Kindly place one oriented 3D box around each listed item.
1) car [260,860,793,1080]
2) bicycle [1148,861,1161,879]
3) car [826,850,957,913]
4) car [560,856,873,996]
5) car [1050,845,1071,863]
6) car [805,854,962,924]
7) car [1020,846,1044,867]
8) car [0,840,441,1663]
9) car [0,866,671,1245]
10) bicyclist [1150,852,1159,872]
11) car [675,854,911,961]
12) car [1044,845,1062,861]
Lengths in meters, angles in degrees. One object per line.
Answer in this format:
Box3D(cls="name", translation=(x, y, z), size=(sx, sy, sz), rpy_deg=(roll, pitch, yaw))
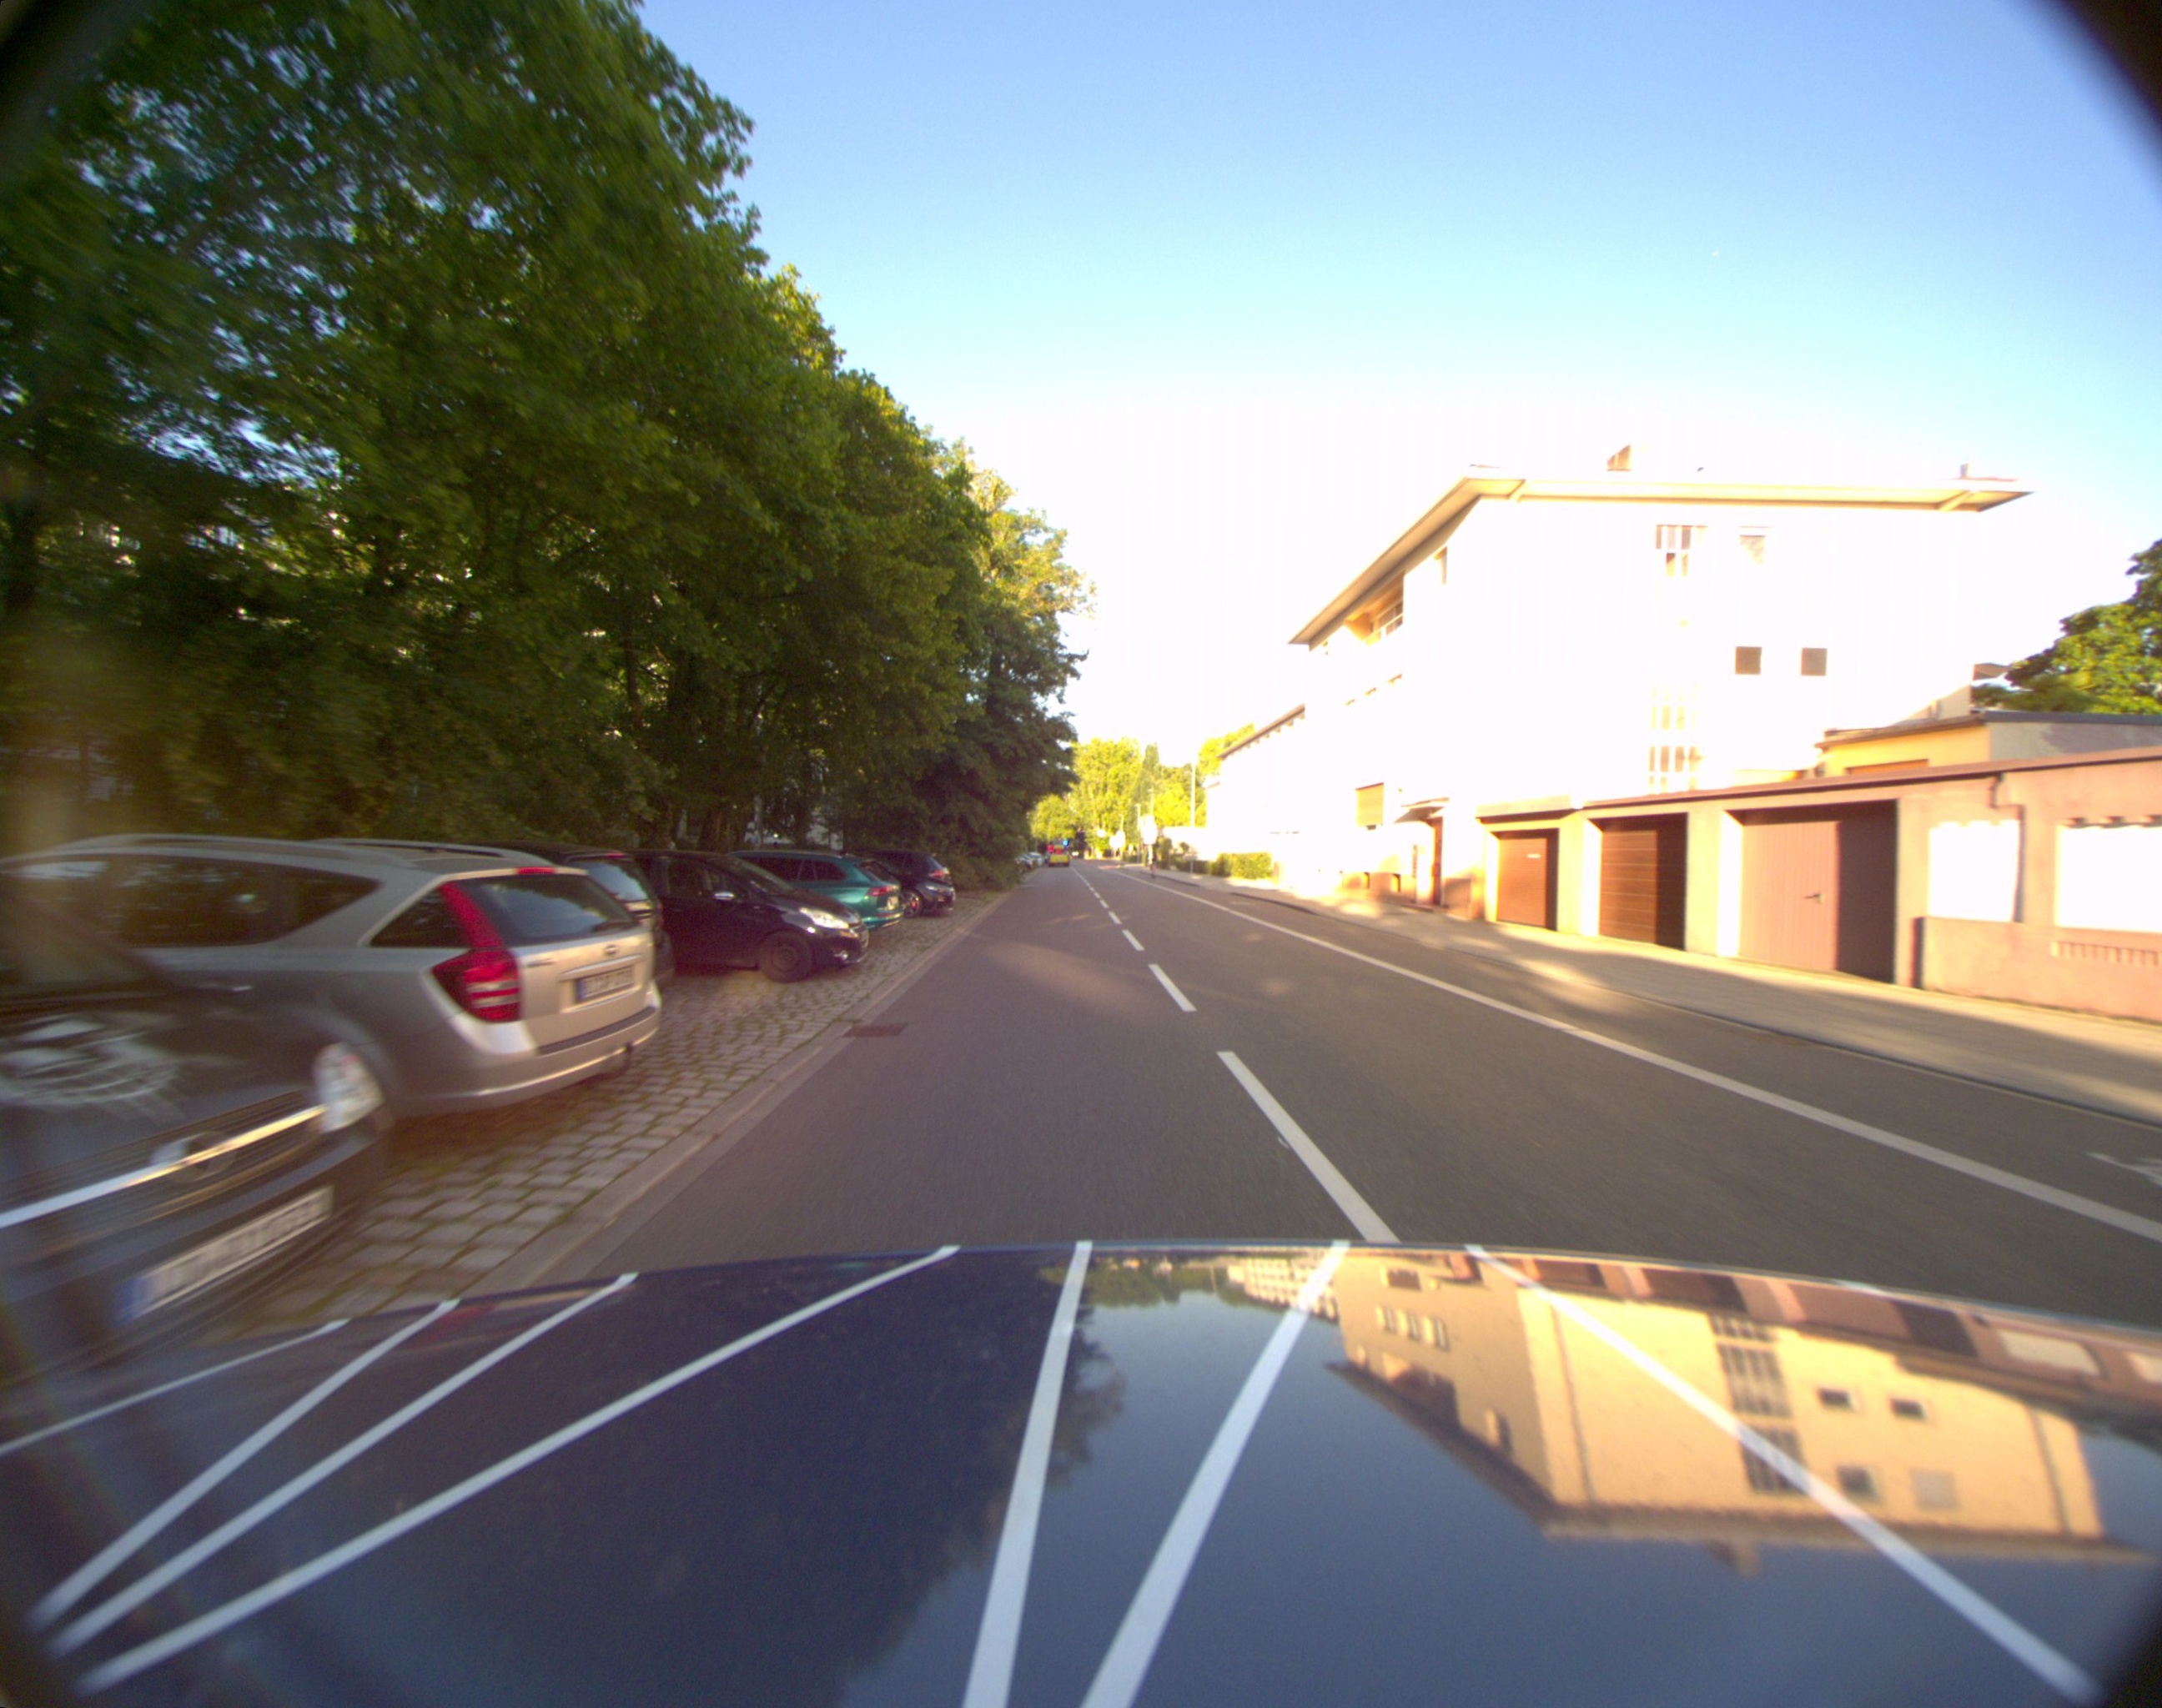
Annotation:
Box3D(cls="car", translation=(-4.323, 0.850, 6.311), size=(3.224, 1.519, 1.622), rpy_deg=(1, 0, 0))
Box3D(cls="bicycle", translation=(4.735, 1.016, 48.770), size=(0.576, 1.056, 1.849), rpy_deg=(1, 0, -2))
Box3D(cls="car", translation=(-4.944, 0.691, 20.027), size=(2.984, 1.518, 1.530), rpy_deg=(1, 0, 7))
Box3D(cls="car", translation=(-4.269, 0.818, 9.354), size=(3.120, 1.519, 1.620), rpy_deg=(1, 0, -9))
Box3D(cls="car", translation=(-2.342, -0.030, 88.510), size=(2.228, 2.002, 4.890), rpy_deg=(1, 0, 1))
Box3D(cls="car", translation=(-4.389, 0.765, 17.200), size=(3.117, 1.452, 1.529), rpy_deg=(1, 0, 0))
Box3D(cls="car", translation=(-4.779, 0.215, 74.251), size=(1.998, 2.002, 4.000), rpy_deg=(1, 0, 1))
Box3D(cls="car", translation=(-3.886, 0.811, 1.819), size=(3.264, 1.714, 1.679), rpy_deg=(1, 1, 0))
Box3D(cls="car", translation=(-4.079, 0.865, 4.068), size=(2.867, 1.519, 1.622), rpy_deg=(1, 0, 2))
Box3D(cls="bicyclist", translation=(4.727, 0.537, 48.747), size=(0.479, 1.258, 0.567), rpy_deg=(1, 1, -2))
Box3D(cls="car", translation=(-4.425, 0.793, 11.975), size=(3.118, 1.519, 1.529), rpy_deg=(1, 0, -1))
Box3D(cls="car", translation=(-3.814, -0.152, 104.497), size=(2.228, 2.002, 4.890), rpy_deg=(1, 0, 1))
